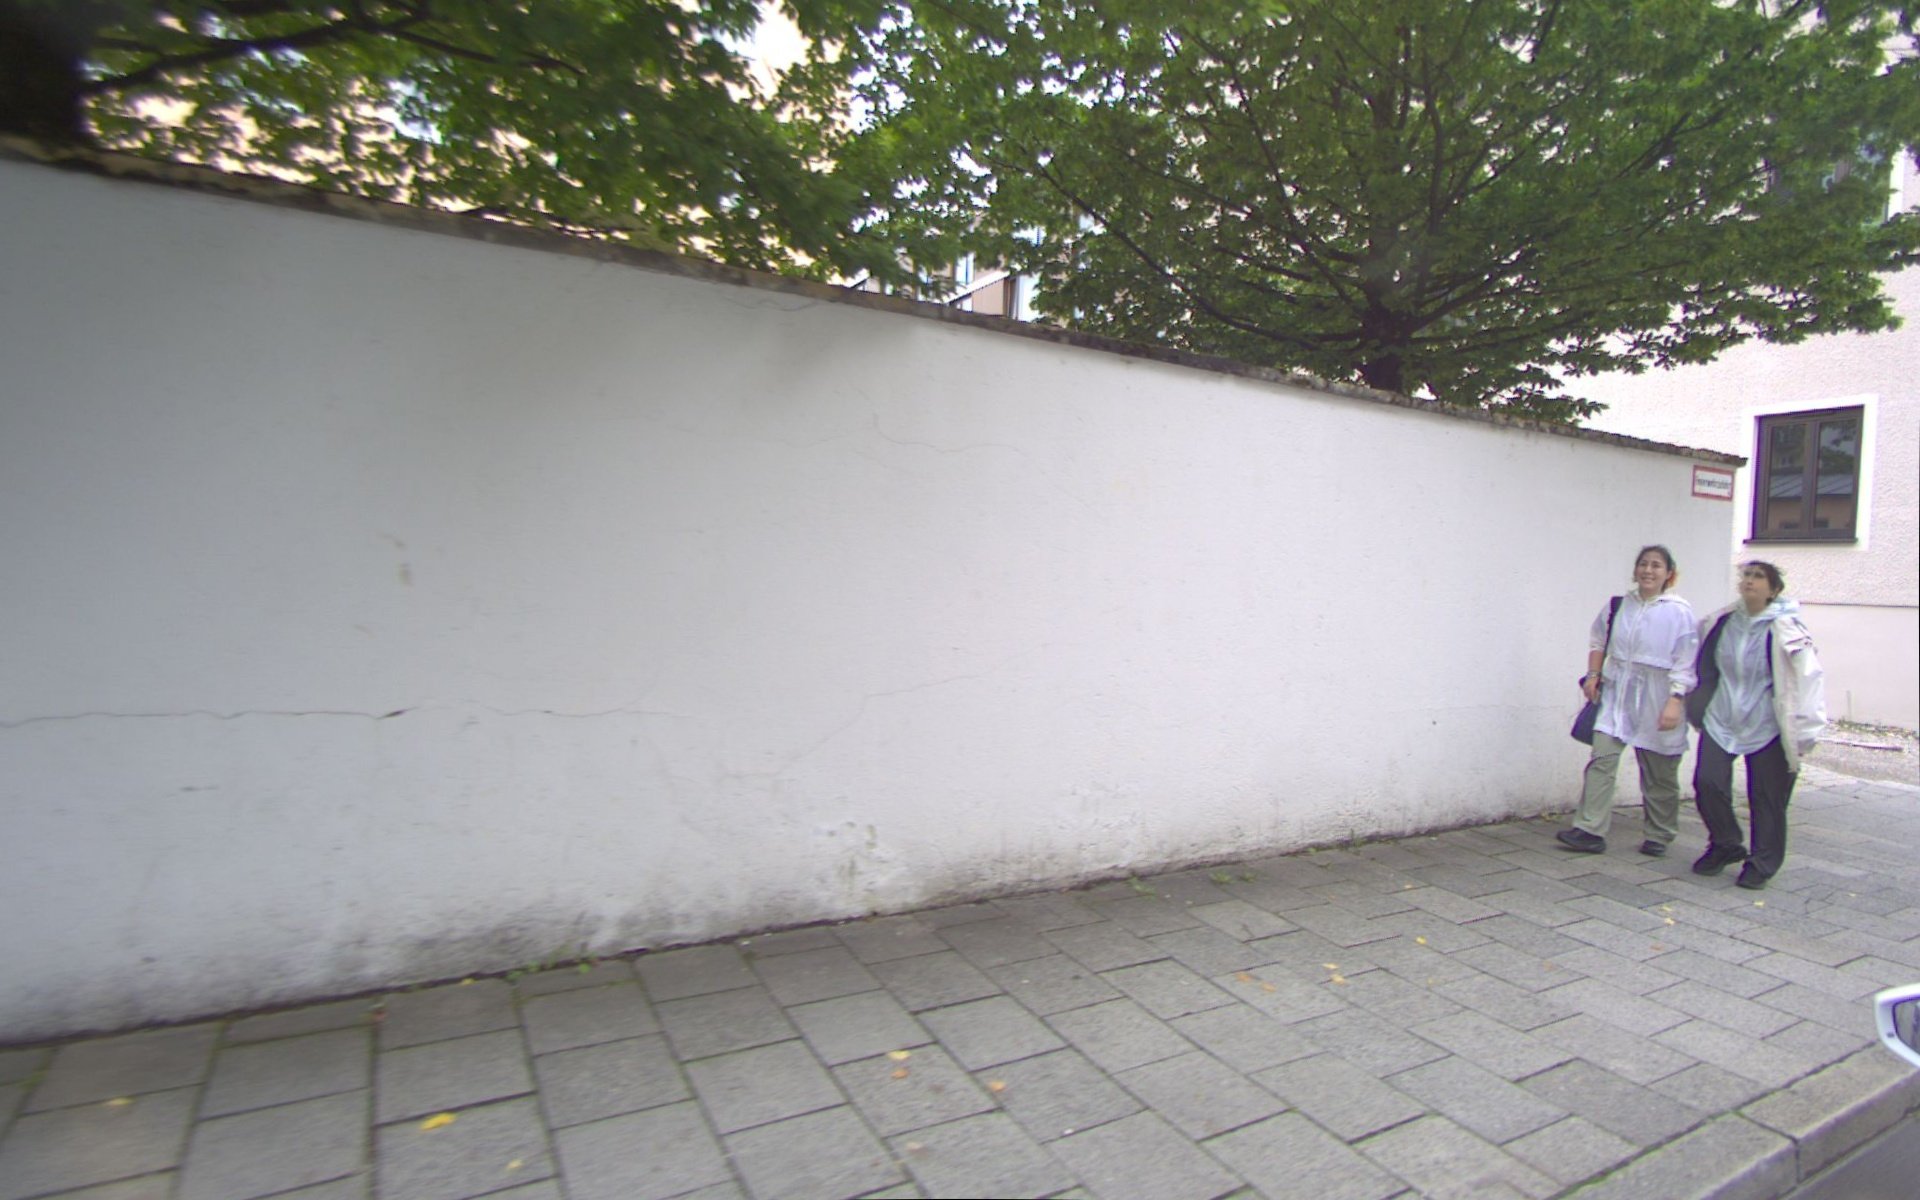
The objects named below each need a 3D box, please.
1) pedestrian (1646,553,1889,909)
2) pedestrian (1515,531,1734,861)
[{"bbox_3d":[3.972,0.593,4.960,0.705,1.600,0.619,2,3,-30],"label":"pedestrian"},{"bbox_3d":[3.580,0.479,5.436,0.679,1.643,0.610,1,4,-29],"label":"pedestrian"}]
